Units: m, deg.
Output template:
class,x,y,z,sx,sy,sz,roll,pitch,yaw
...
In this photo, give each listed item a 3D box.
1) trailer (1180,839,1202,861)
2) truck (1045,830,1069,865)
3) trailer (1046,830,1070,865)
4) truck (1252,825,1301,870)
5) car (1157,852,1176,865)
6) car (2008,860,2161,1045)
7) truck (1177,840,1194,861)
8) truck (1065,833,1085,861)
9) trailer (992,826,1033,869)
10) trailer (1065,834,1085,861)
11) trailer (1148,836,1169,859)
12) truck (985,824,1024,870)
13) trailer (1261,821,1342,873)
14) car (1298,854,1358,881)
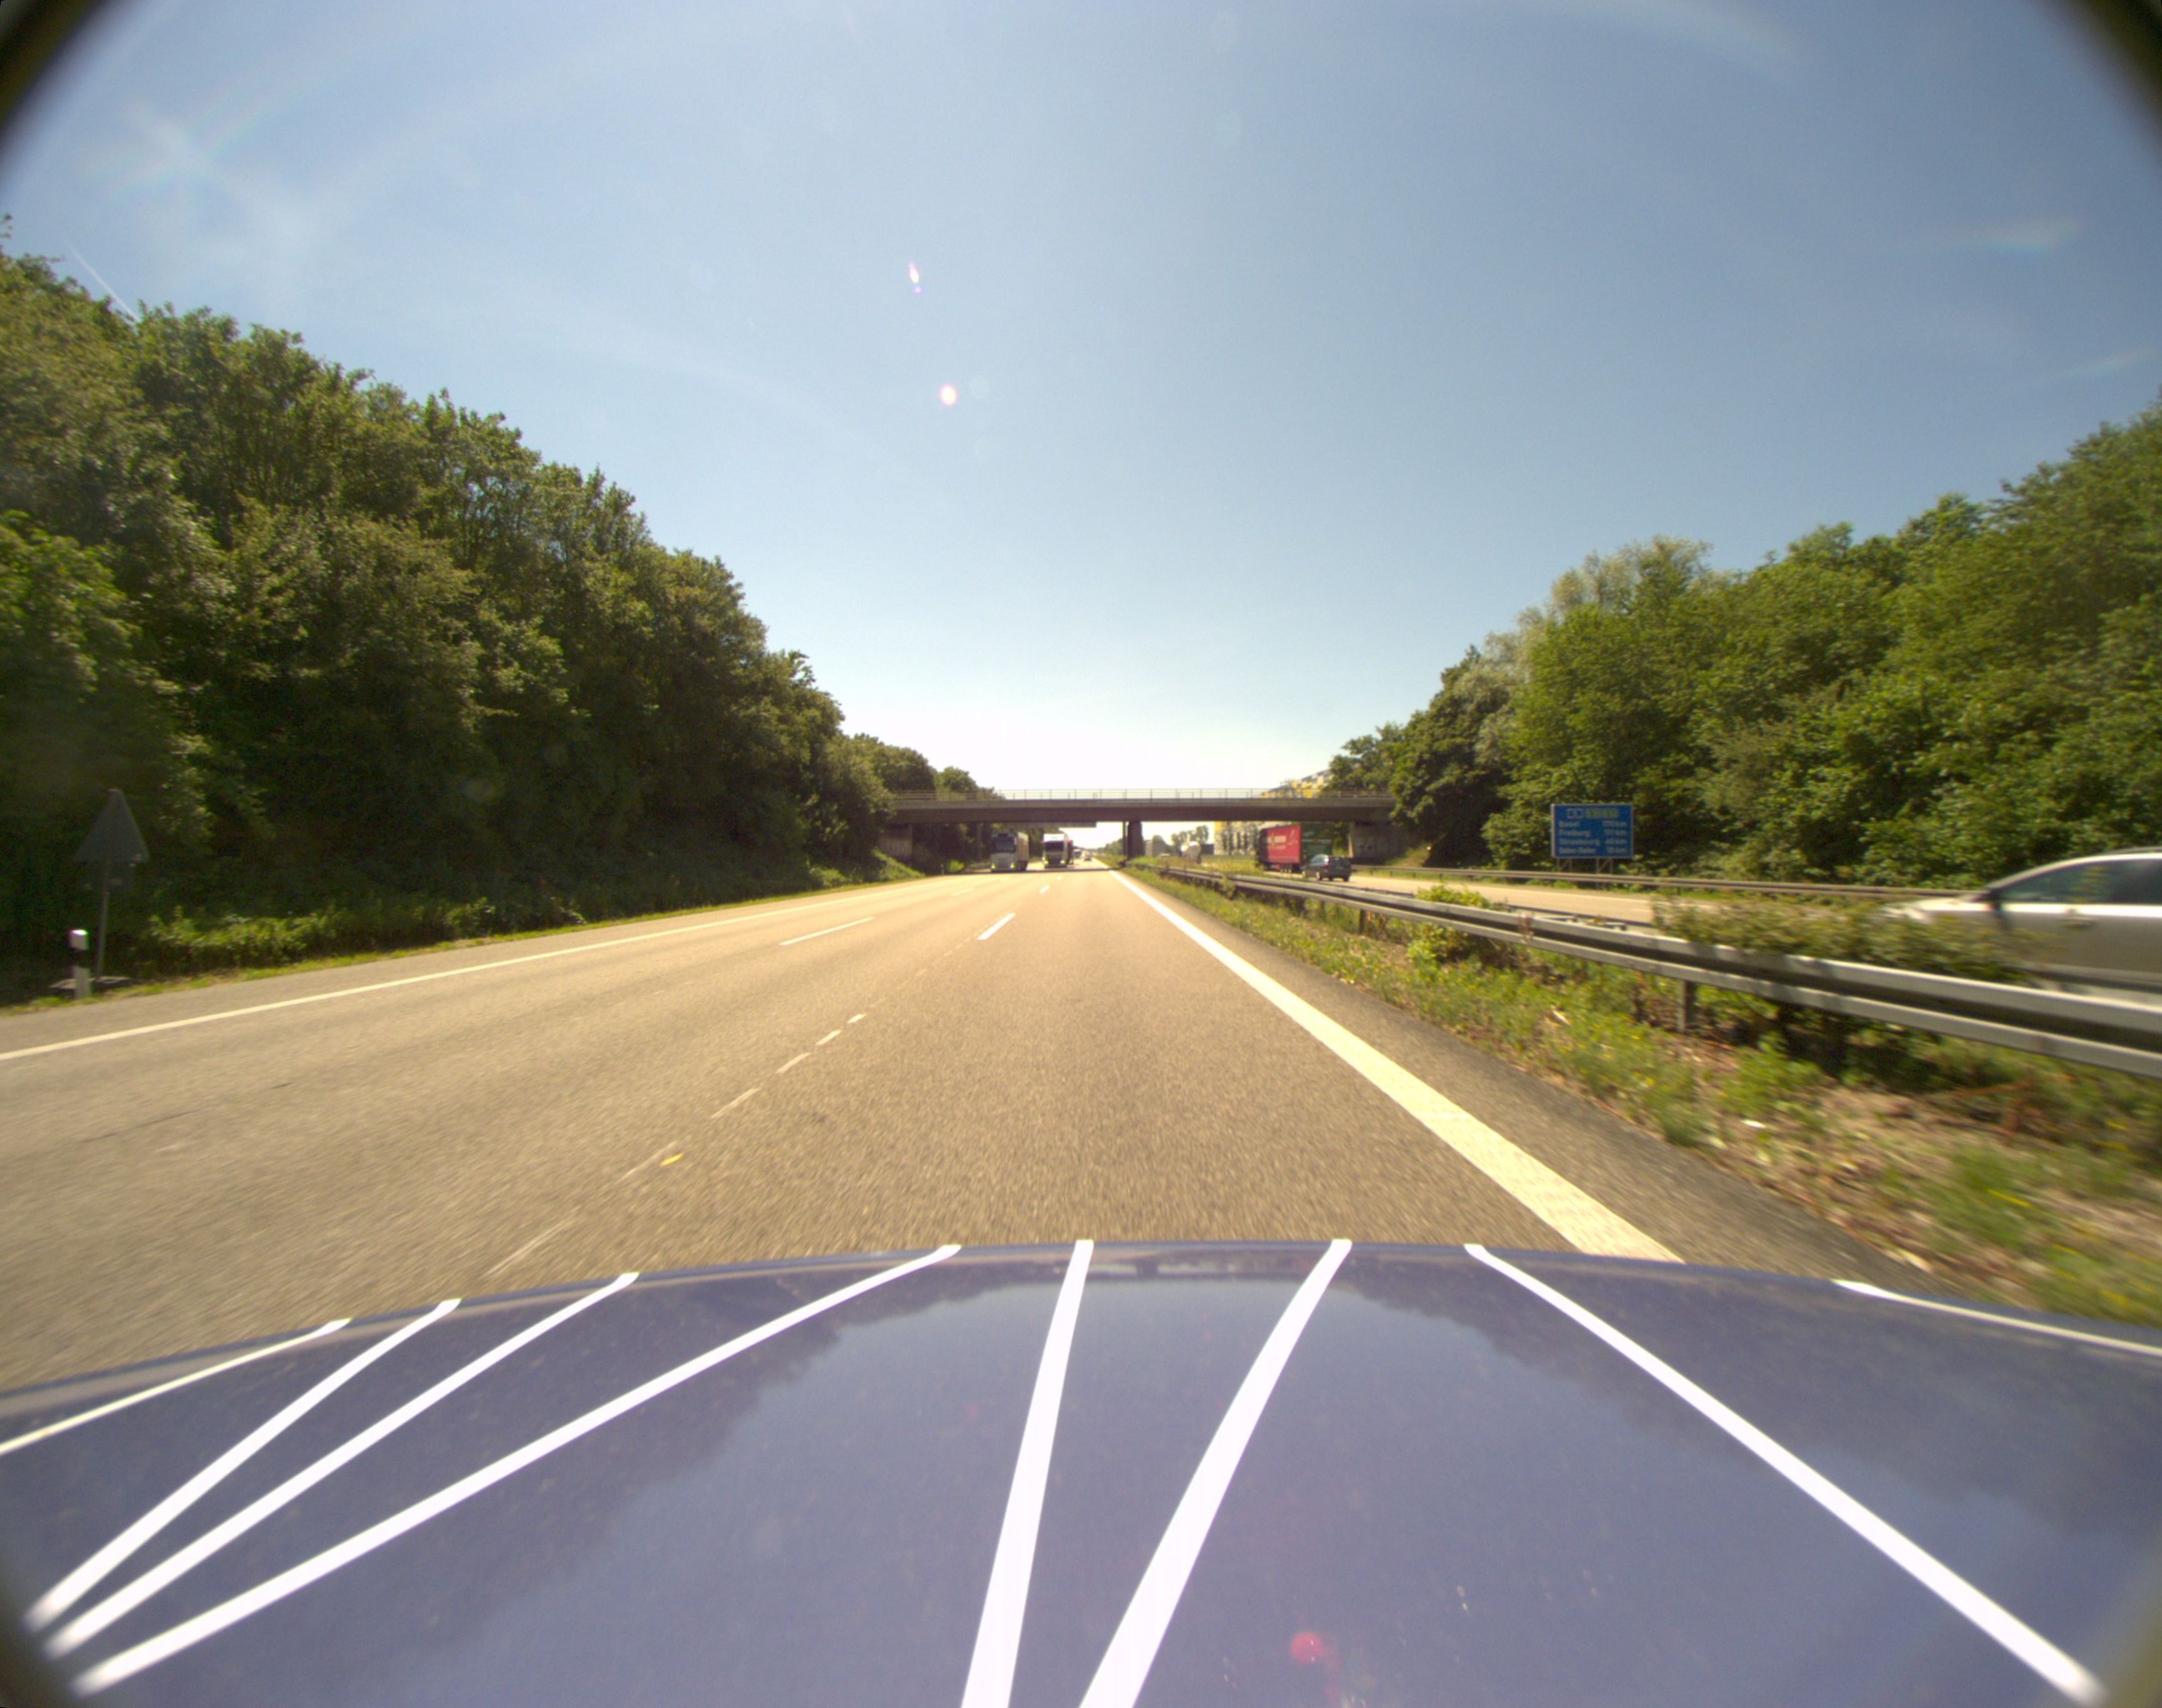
class,x,y,z,sx,sy,sz,roll,pitch,yaw
trailer,19.274,-0.672,133.742,2.364,3.772,12.074,1,0,1
truck,-2.828,-0.738,91.510,2.684,4.046,6.048,-2,0,0
trailer,-2.857,-0.788,98.252,2.684,4.046,13.834,-2,0,0
truck,18.515,-0.624,72.294,3.225,4.035,5.618,0,1,0
car,10.136,0.532,90.003,1.672,1.503,4.518,0,0,-1
car,9.424,0.787,4.516,1.853,1.442,4.871,0,0,0
truck,19.357,-0.680,140.758,2.365,3.753,5.251,1,0,1
truck,-0.955,-1.046,115.637,2.870,4.046,5.770,-2,0,-1
trailer,-7.318,-0.669,82.994,3.047,4.200,13.834,-2,0,0
trailer,-1.112,-1.039,122.602,2.886,4.046,13.833,-2,0,-1
trailer,15.391,-1.246,152.147,2.836,4.200,13.835,1,0,1
truck,-7.320,-0.657,73.877,3.055,4.190,6.048,-2,0,0
trailer,18.480,-0.568,64.811,3.225,4.035,12.740,0,0,0
car,14.135,0.734,43.801,1.853,1.442,4.871,0,0,0
